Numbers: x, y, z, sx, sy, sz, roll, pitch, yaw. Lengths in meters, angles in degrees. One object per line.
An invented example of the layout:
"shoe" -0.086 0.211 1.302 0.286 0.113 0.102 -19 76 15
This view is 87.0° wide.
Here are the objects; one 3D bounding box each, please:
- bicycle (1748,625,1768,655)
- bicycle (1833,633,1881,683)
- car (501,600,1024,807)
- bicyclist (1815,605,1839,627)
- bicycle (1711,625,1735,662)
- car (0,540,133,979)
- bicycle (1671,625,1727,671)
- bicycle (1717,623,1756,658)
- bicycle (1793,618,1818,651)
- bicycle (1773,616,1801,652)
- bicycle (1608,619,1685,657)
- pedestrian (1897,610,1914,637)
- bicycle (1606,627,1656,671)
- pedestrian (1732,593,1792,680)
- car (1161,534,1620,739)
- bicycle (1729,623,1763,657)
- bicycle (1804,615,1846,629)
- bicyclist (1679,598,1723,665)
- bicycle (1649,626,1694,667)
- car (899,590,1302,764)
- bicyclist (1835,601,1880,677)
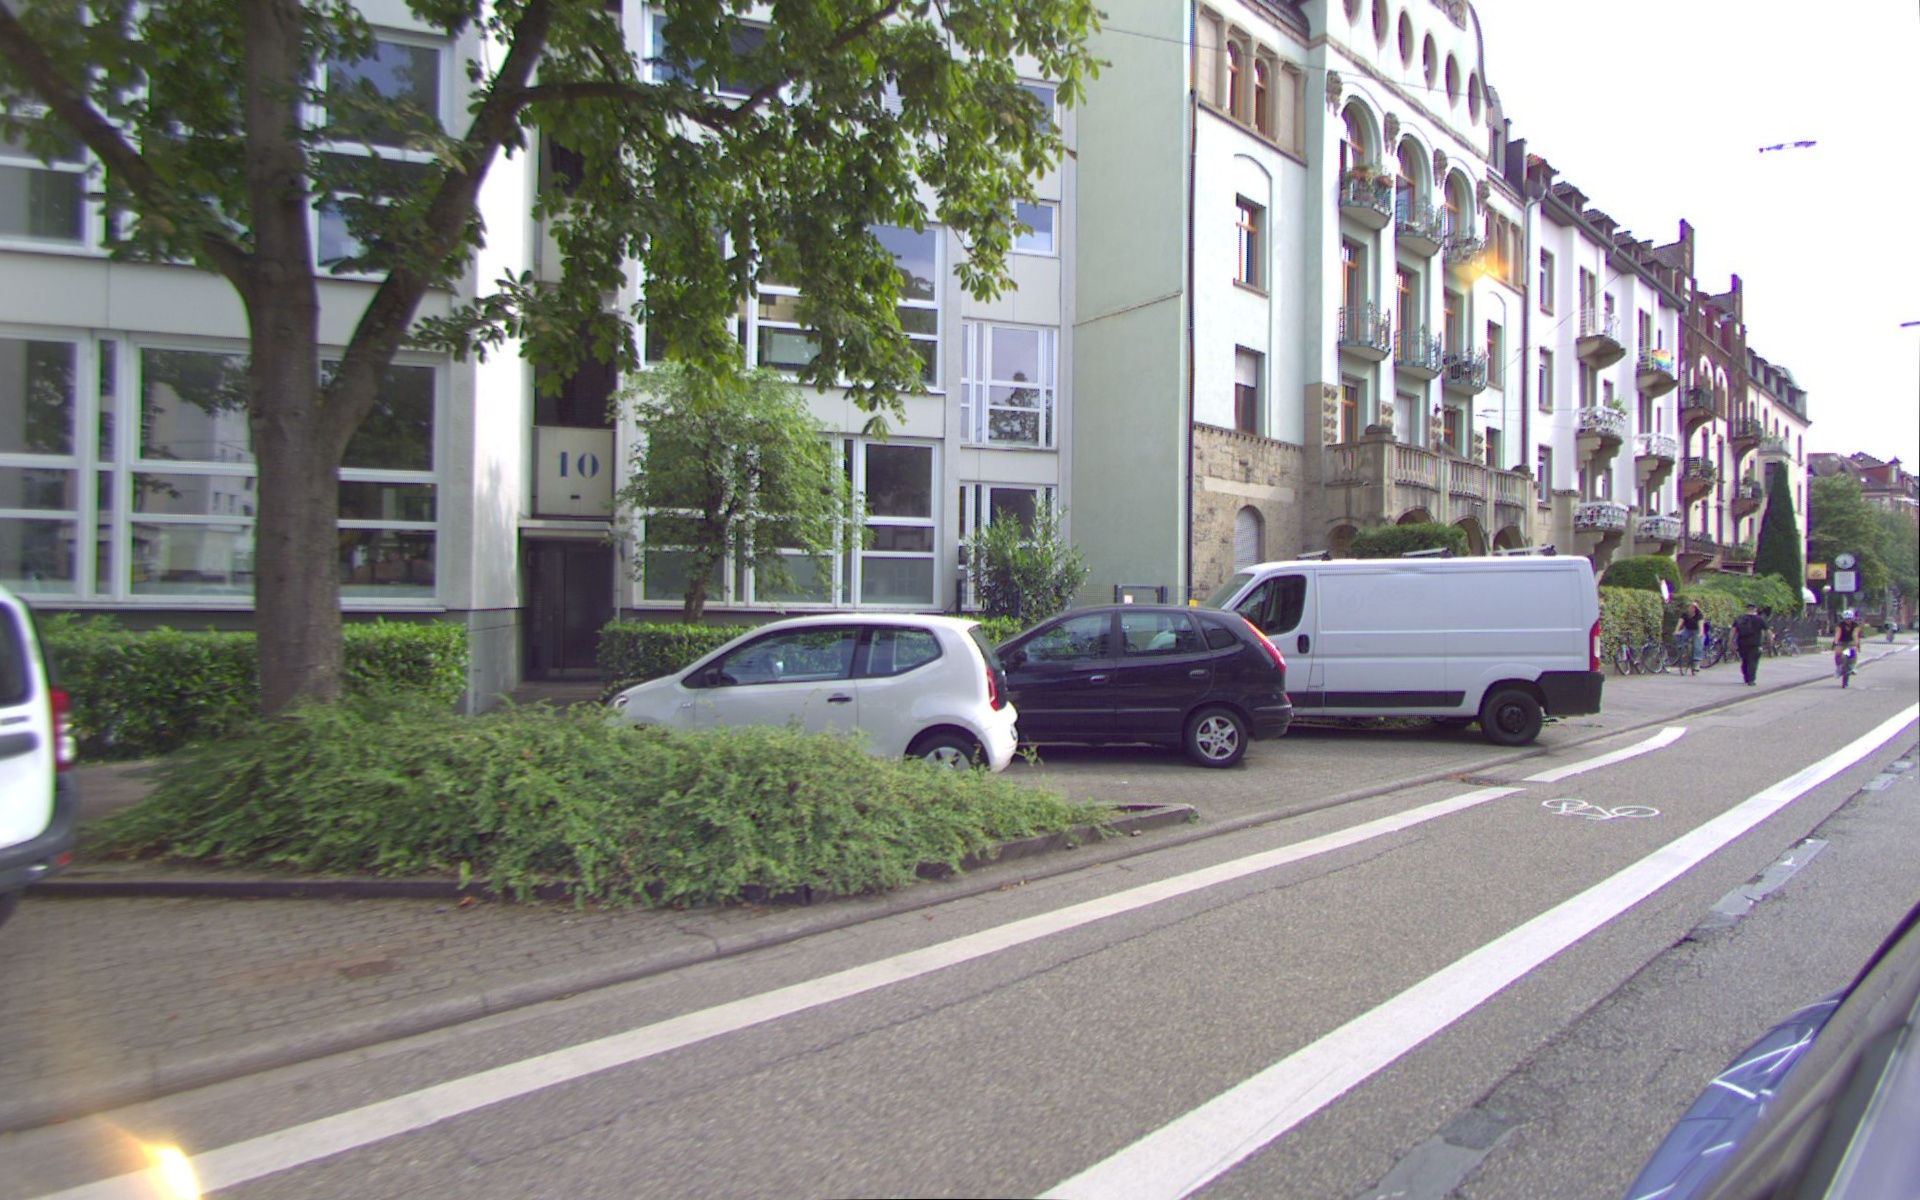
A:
"bicycle" 24.293 1.198 30.811 1.177 0.863 0.278 0 1 -42
"bicycle" 19.640 1.252 22.144 2.037 0.993 0.639 1 0 -44
"car" -1.483 0.771 8.508 4.018 1.530 1.687 0 -1 4
"bicyclist" 69.027 1.281 80.582 0.824 1.711 1.245 1 -1 4
"bicycle" 20.389 1.150 27.050 0.484 0.918 1.643 1 1 37
"car" -5.719 0.610 3.757 4.034 1.689 1.688 0 -1 4
"bicycle" 17.093 1.095 23.391 2.002 0.974 0.689 1 2 -44
"bicycle" 21.757 1.125 28.342 1.635 0.918 0.487 0 1 -39
"bicycle" 29.462 1.197 35.246 1.729 1.116 0.392 1 1 -42
"bicycle" 27.416 1.118 33.537 1.887 1.156 0.392 1 1 -42
"bicycle" 18.598 1.010 27.443 0.478 0.918 1.666 1 1 -33
"pedestrian" 62.861 1.549 67.267 0.720 1.680 0.747 6 3 45
"bicycle" 14.820 1.065 22.344 1.634 0.918 0.387 0 1 -37
"pedestrian" 17.054 0.762 21.520 0.880 1.754 0.786 1 1 -42
"car" 5.179 0.417 12.953 4.872 2.319 2.381 0 -1 6
"bicycle" 22.996 1.150 29.591 1.636 0.918 0.486 0 1 -42
"bicycle" 69.029 1.770 80.814 0.870 1.059 3.093 1 0 4
"bicyclist" 17.180 0.721 23.457 0.787 1.488 0.648 1 1 -44
"bicycle" 17.053 1.099 24.252 1.634 0.918 0.387 0 1 -37
"car" 1.390 0.741 10.710 3.889 1.670 1.687 0 -1 4
"bicyclist" 19.636 0.833 22.139 1.092 1.590 0.639 1 0 -44
